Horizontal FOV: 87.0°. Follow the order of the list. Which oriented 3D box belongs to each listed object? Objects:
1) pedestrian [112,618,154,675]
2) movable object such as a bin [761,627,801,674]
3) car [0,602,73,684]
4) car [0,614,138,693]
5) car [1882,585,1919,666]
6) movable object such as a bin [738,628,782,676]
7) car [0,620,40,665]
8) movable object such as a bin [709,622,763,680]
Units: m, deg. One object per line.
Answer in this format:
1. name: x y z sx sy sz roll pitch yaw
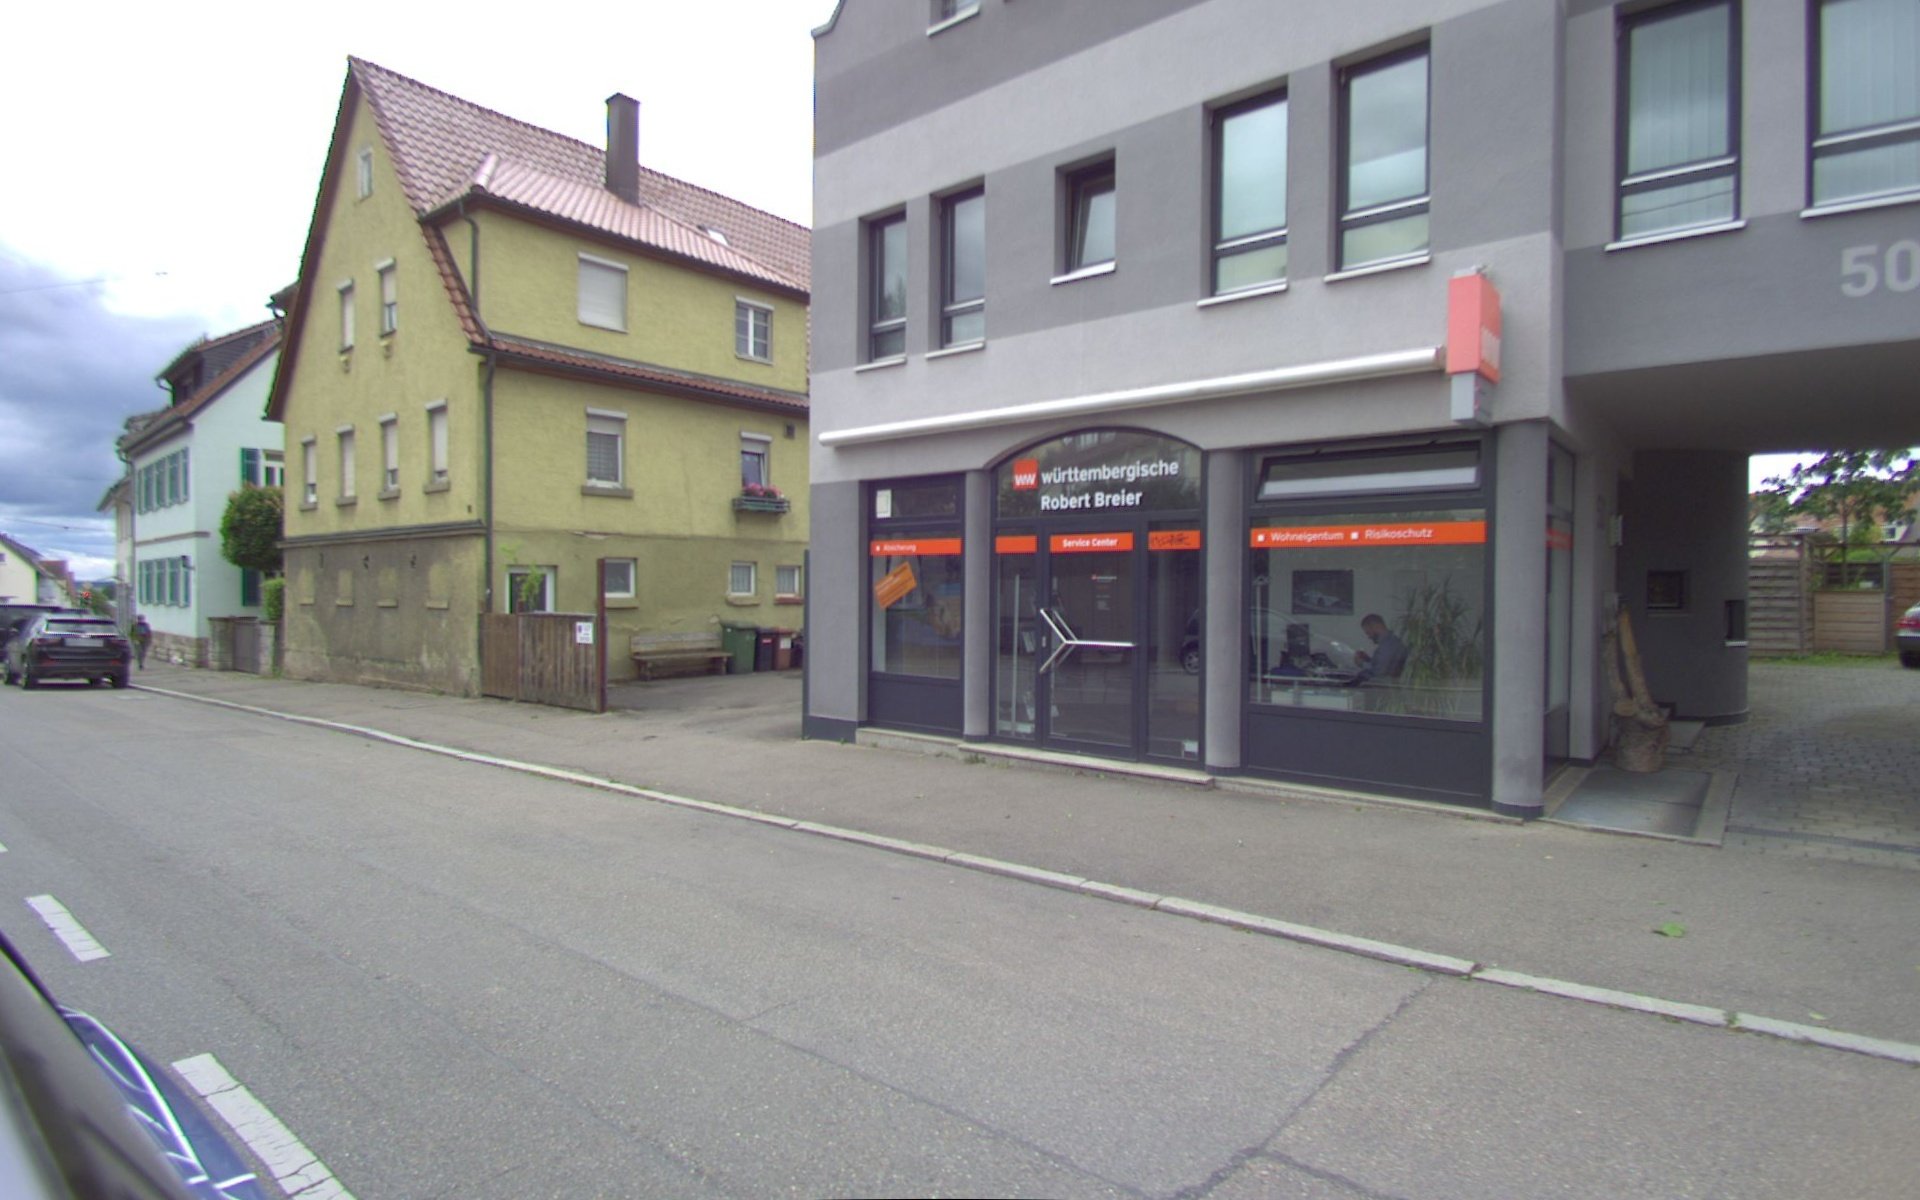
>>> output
1. pedestrian: -23.049 1.274 28.214 0.797 1.511 0.976 -2 1 -44
2. movable object such as a bin: -3.806 1.057 21.498 0.622 0.956 0.562 0 0 31
3. car: -25.191 1.112 26.872 4.671 2.029 1.971 -1 -4 44
4. car: -20.422 1.204 23.004 4.521 1.631 1.877 -3 -4 40
5. car: 17.372 0.438 16.790 3.844 1.290 1.954 1 1 -30
6. movable object such as a bin: -4.149 1.069 20.966 0.622 0.956 0.656 0 0 31
7. car: -32.596 1.425 34.326 1.974 1.447 3.922 0 -1 -44
8. movable object such as a bin: -4.472 0.999 20.219 0.622 1.113 0.891 0 0 31
